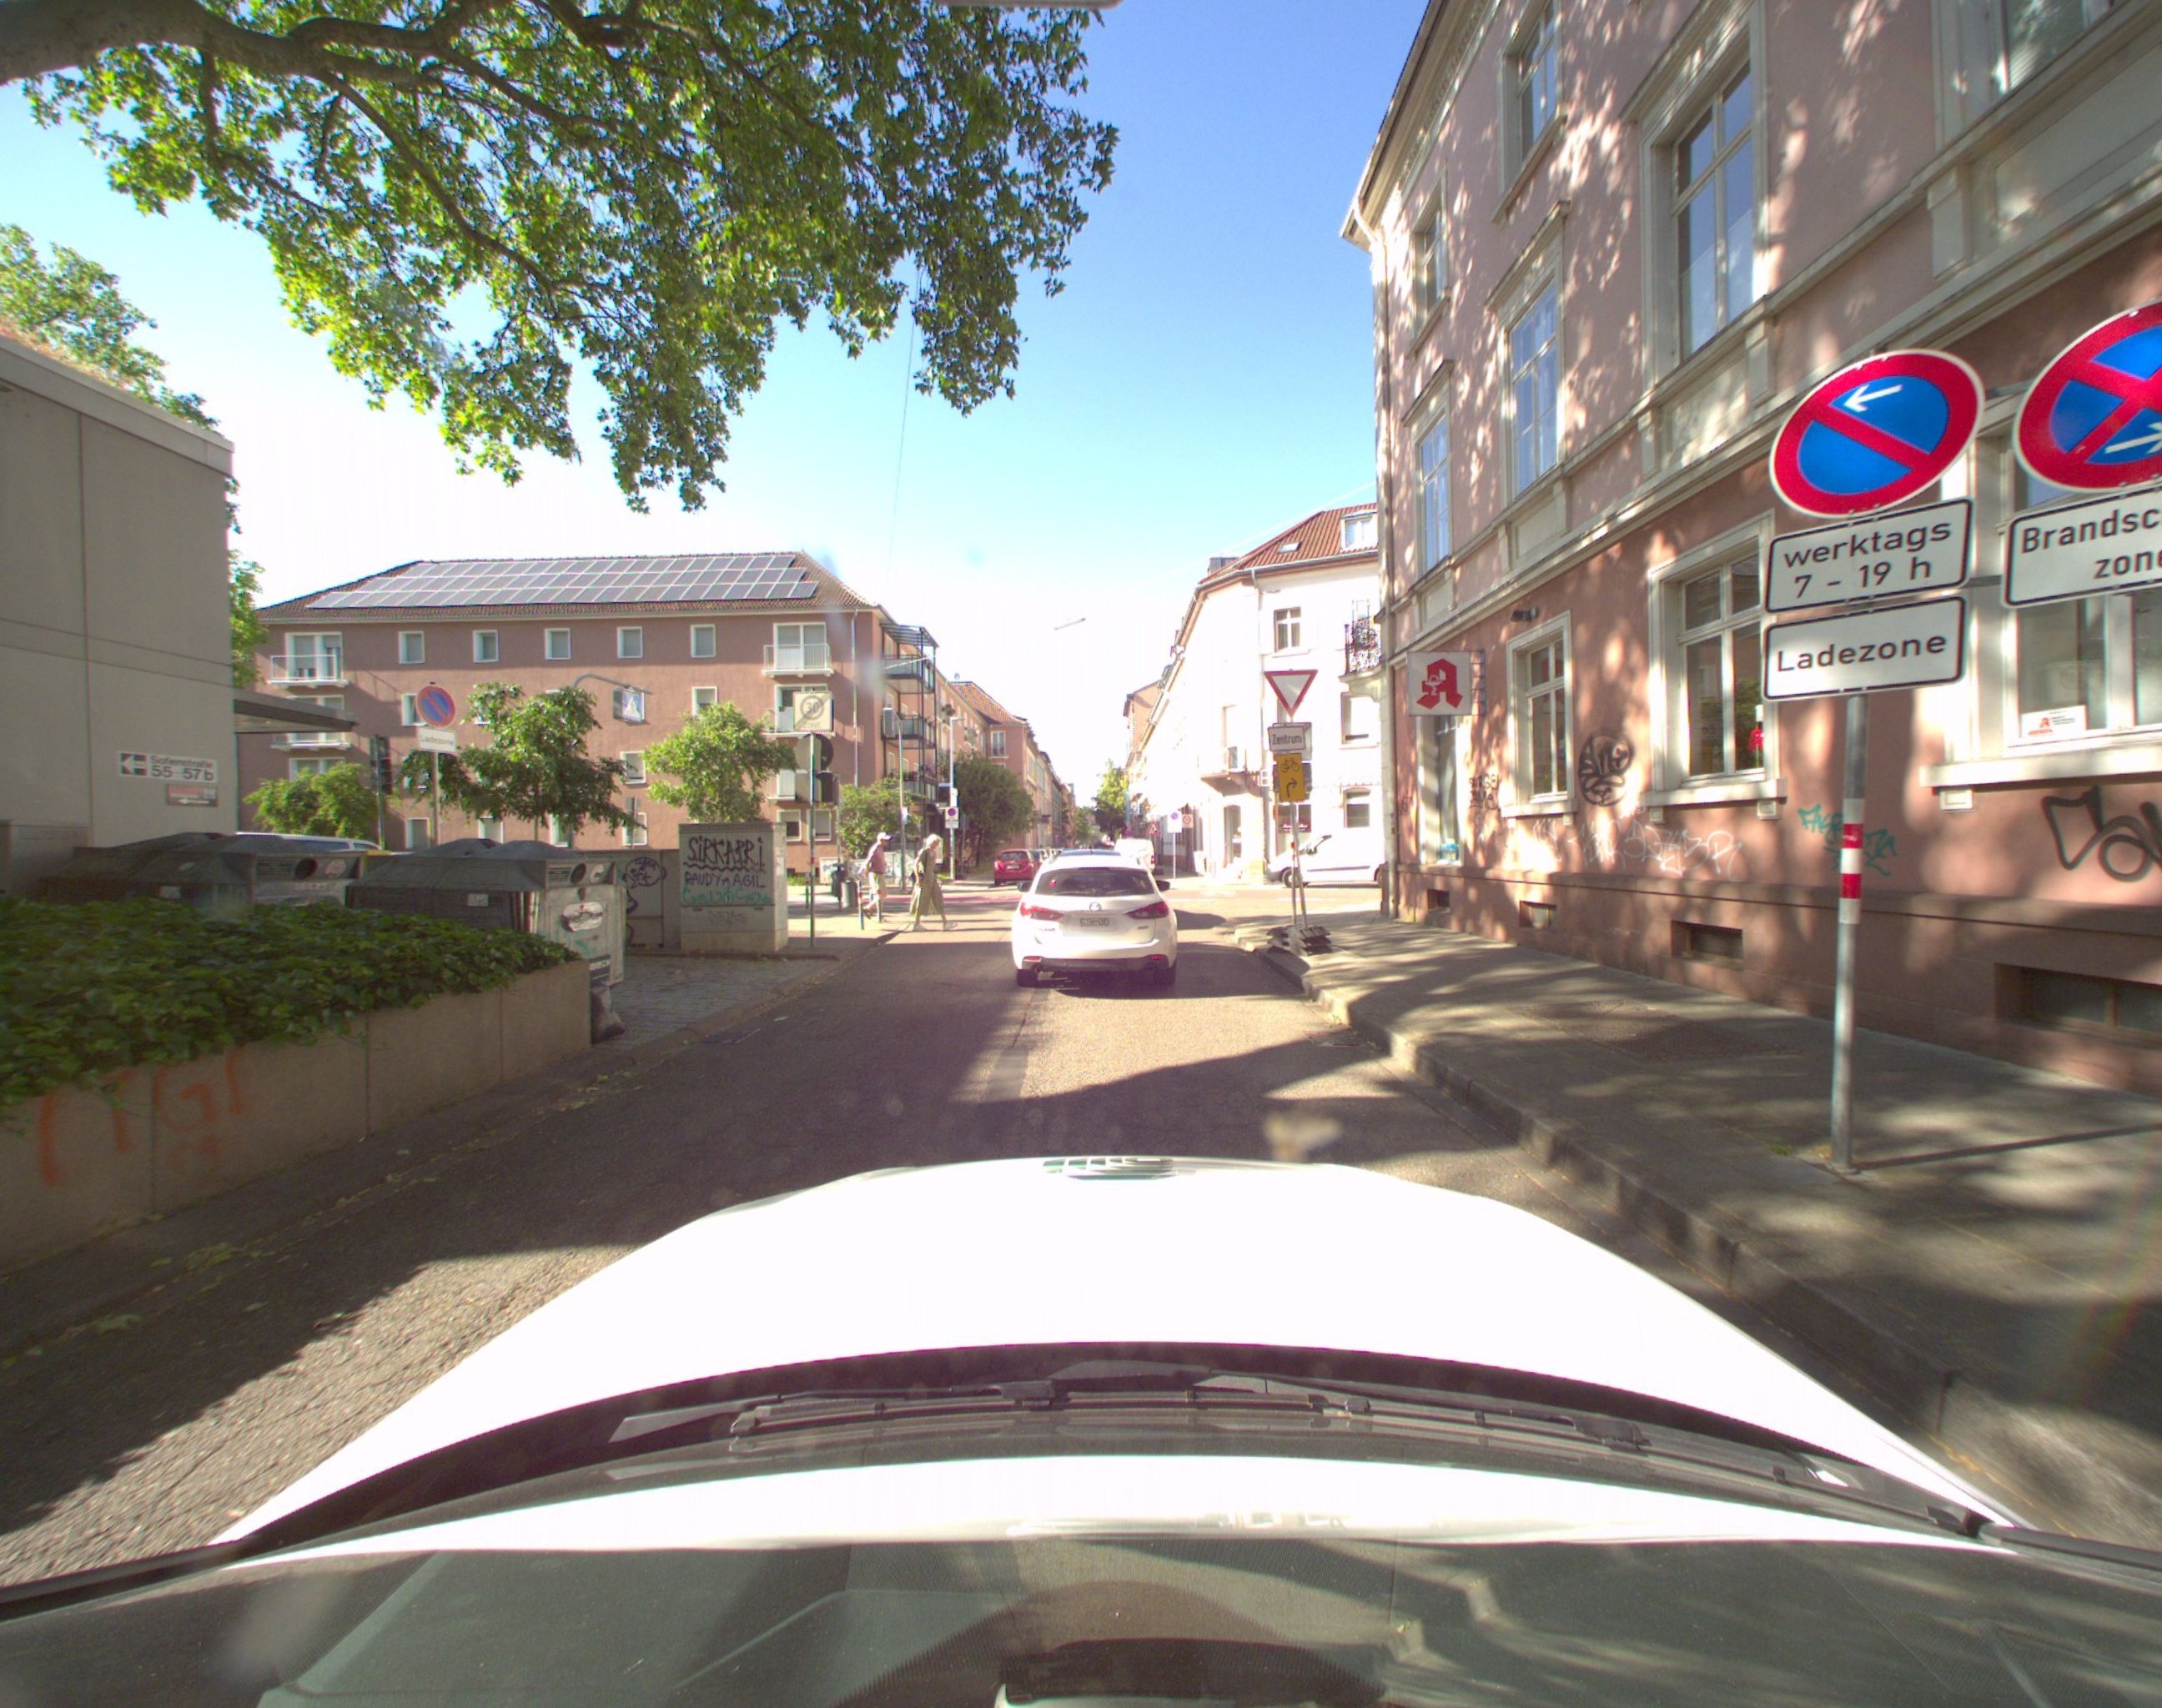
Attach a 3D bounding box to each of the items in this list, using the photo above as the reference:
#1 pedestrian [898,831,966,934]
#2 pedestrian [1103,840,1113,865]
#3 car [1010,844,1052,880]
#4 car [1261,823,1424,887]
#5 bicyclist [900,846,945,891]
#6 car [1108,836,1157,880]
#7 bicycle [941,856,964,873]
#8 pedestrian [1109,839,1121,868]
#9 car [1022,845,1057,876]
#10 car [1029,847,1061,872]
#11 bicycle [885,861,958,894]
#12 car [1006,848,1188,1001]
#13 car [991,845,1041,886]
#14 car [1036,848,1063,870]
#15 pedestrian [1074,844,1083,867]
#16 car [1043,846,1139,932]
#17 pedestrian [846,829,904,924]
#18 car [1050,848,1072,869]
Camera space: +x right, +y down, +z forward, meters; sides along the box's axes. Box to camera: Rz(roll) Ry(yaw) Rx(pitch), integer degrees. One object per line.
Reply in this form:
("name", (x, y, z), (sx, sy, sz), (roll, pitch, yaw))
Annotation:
("pedestrian", (-2.723, 0.492, 14.922), (0.845, 1.814, 0.820), (0, 2, 29))
("pedestrian", (2.273, -0.133, 68.221), (0.768, 2.118, 0.835), (-2, -1, 2))
("car", (-2.443, 0.384, 40.653), (1.714, 1.682, 3.727), (-2, 0, 2))
("car", (8.598, 0.083, 26.833), (4.845, 1.928, 2.011), (-1, -2, 25))
("bicyclist", (-5.454, 0.494, 28.056), (1.185, 1.516, 0.845), (-2, -1, 21))
("car", (2.367, 0.158, 38.221), (1.937, 1.948, 4.076), (0, 0, -1))
("bicycle", (-7.325, 0.577, 46.391), (0.607, 0.932, 1.895), (-1, 0, -32))
("pedestrian", (2.309, -0.035, 56.021), (0.768, 1.918, 0.835), (-2, 0, 2))
("car", (-2.328, 0.366, 46.167), (1.629, 1.656, 3.786), (-1, 0, 2))
("car", (-2.301, 0.349, 52.955), (1.714, 1.576, 3.727), (-2, 0, 2))
("bicycle", (-5.501, 0.801, 28.088), (2.403, 1.080, 0.794), (-2, 0, 23))
("car", (0.181, 0.699, 10.136), (1.817, 1.514, 3.824), (-1, 0, 0))
("car", (-2.751, 0.464, 35.056), (1.764, 1.588, 3.726), (-2, 1, 0))
("car", (-2.177, 0.359, 56.967), (1.596, 1.477, 3.569), (-2, 0, 2))
("pedestrian", (-0.182, 0.105, 65.425), (0.645, 1.797, 0.639), (-2, -1, 2))
("car", (0.194, 0.602, 16.283), (1.676, 1.481, 3.661), (-2, 0, 0))
("pedestrian", (-4.117, 0.432, 16.337), (0.963, 1.838, 0.682), (1, 2, 1))
("car", (-1.658, 0.361, 67.273), (1.567, 1.585, 3.612), (-2, 0, 2))
